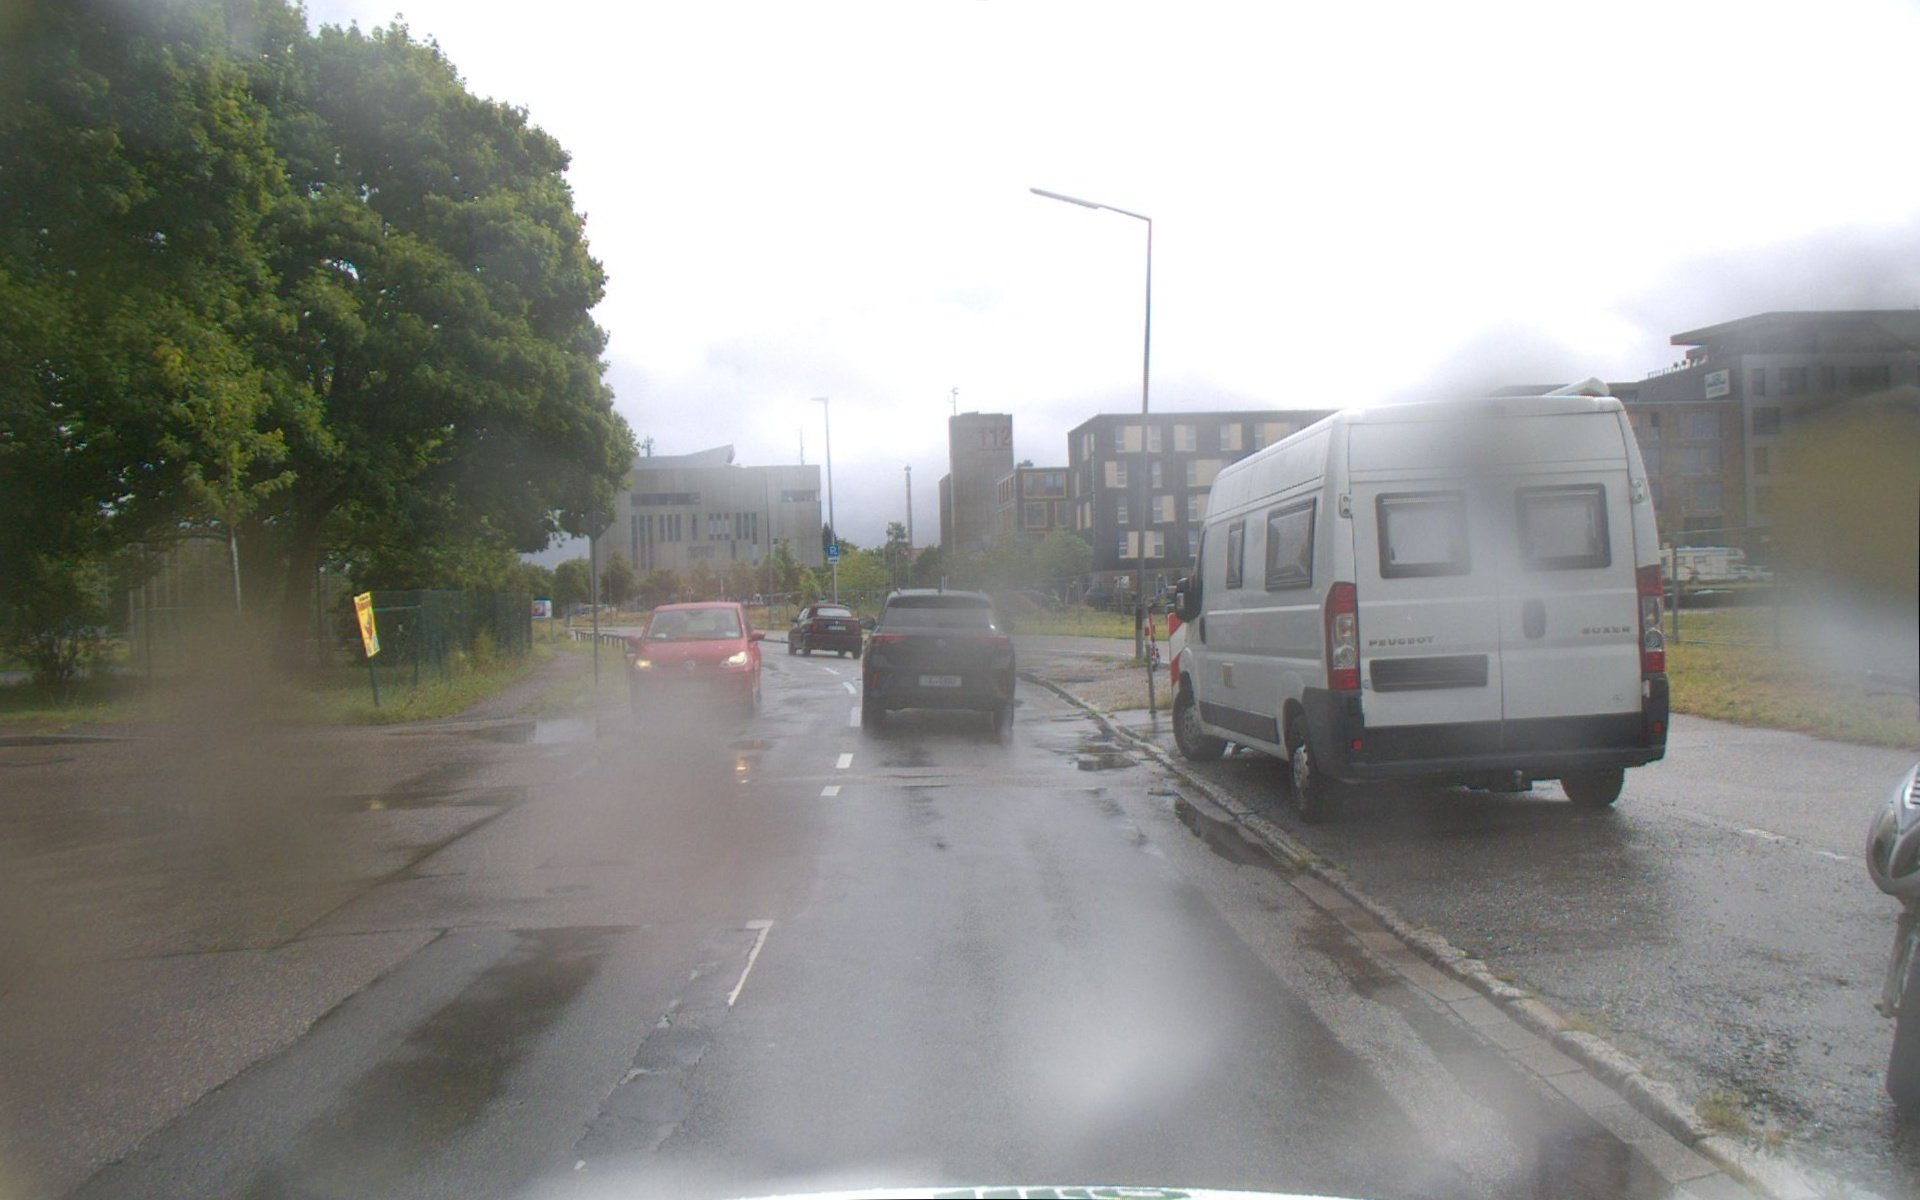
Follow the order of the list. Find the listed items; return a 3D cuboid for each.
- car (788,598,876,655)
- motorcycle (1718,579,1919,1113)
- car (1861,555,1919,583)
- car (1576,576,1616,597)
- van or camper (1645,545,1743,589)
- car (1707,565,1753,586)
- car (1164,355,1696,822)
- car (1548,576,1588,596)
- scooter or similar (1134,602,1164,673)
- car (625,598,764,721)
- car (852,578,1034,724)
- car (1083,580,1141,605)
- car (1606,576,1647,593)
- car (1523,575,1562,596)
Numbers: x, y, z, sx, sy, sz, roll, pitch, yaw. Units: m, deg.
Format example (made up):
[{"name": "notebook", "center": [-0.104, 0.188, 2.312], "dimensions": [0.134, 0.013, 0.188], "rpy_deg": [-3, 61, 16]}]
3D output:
[{"name": "car", "center": [-3.614, 0.718, 46.260], "dimensions": [1.810, 1.467, 3.986], "rpy_deg": [-2, 0, -14]}, {"name": "motorcycle", "center": [3.256, 0.622, 4.941], "dimensions": [1.614, 1.398, 0.719], "rpy_deg": [-5, 0, -12]}, {"name": "car", "center": [72.175, -2.373, 127.202], "dimensions": [4.701, 2.049, 1.999], "rpy_deg": [1, 0, -4]}, {"name": "car", "center": [53.362, -1.129, 138.844], "dimensions": [1.515, 1.643, 3.836], "rpy_deg": [1, 0, -8]}, {"name": "van or camper", "center": [57.137, -2.540, 128.863], "dimensions": [6.649, 3.257, 2.526], "rpy_deg": [1, 0, -7]}, {"name": "car", "center": [65.379, -2.060, 140.448], "dimensions": [1.746, 1.643, 3.836], "rpy_deg": [1, 0, -8]}, {"name": "car", "center": [3.024, -0.060, 12.315], "dimensions": [2.050, 2.516, 5.946], "rpy_deg": [-3, 0, -1]}, {"name": "car", "center": [50.871, -1.174, 138.369], "dimensions": [1.515, 1.643, 3.836], "rpy_deg": [1, 0, -8]}, {"name": "scooter or similar", "center": [3.458, 0.670, 30.137], "dimensions": [0.480, 1.236, 1.341], "rpy_deg": [-2, 0, 7]}, {"name": "car", "center": [-3.535, 0.745, 22.485], "dimensions": [1.625, 1.494, 3.385], "rpy_deg": [-2, 0, -6]}, {"name": "car", "center": [-0.214, 0.562, 19.871], "dimensions": [1.946, 1.547, 3.999], "rpy_deg": [1, 0, -1]}, {"name": "car", "center": [11.312, -0.568, 122.970], "dimensions": [3.915, 1.758, 1.995], "rpy_deg": [1, 0, -11]}, {"name": "car", "center": [56.029, -1.299, 139.087], "dimensions": [1.518, 1.319, 3.897], "rpy_deg": [1, 0, -8]}, {"name": "car", "center": [48.492, -1.217, 137.806], "dimensions": [1.515, 1.643, 3.836], "rpy_deg": [1, 0, -8]}]
